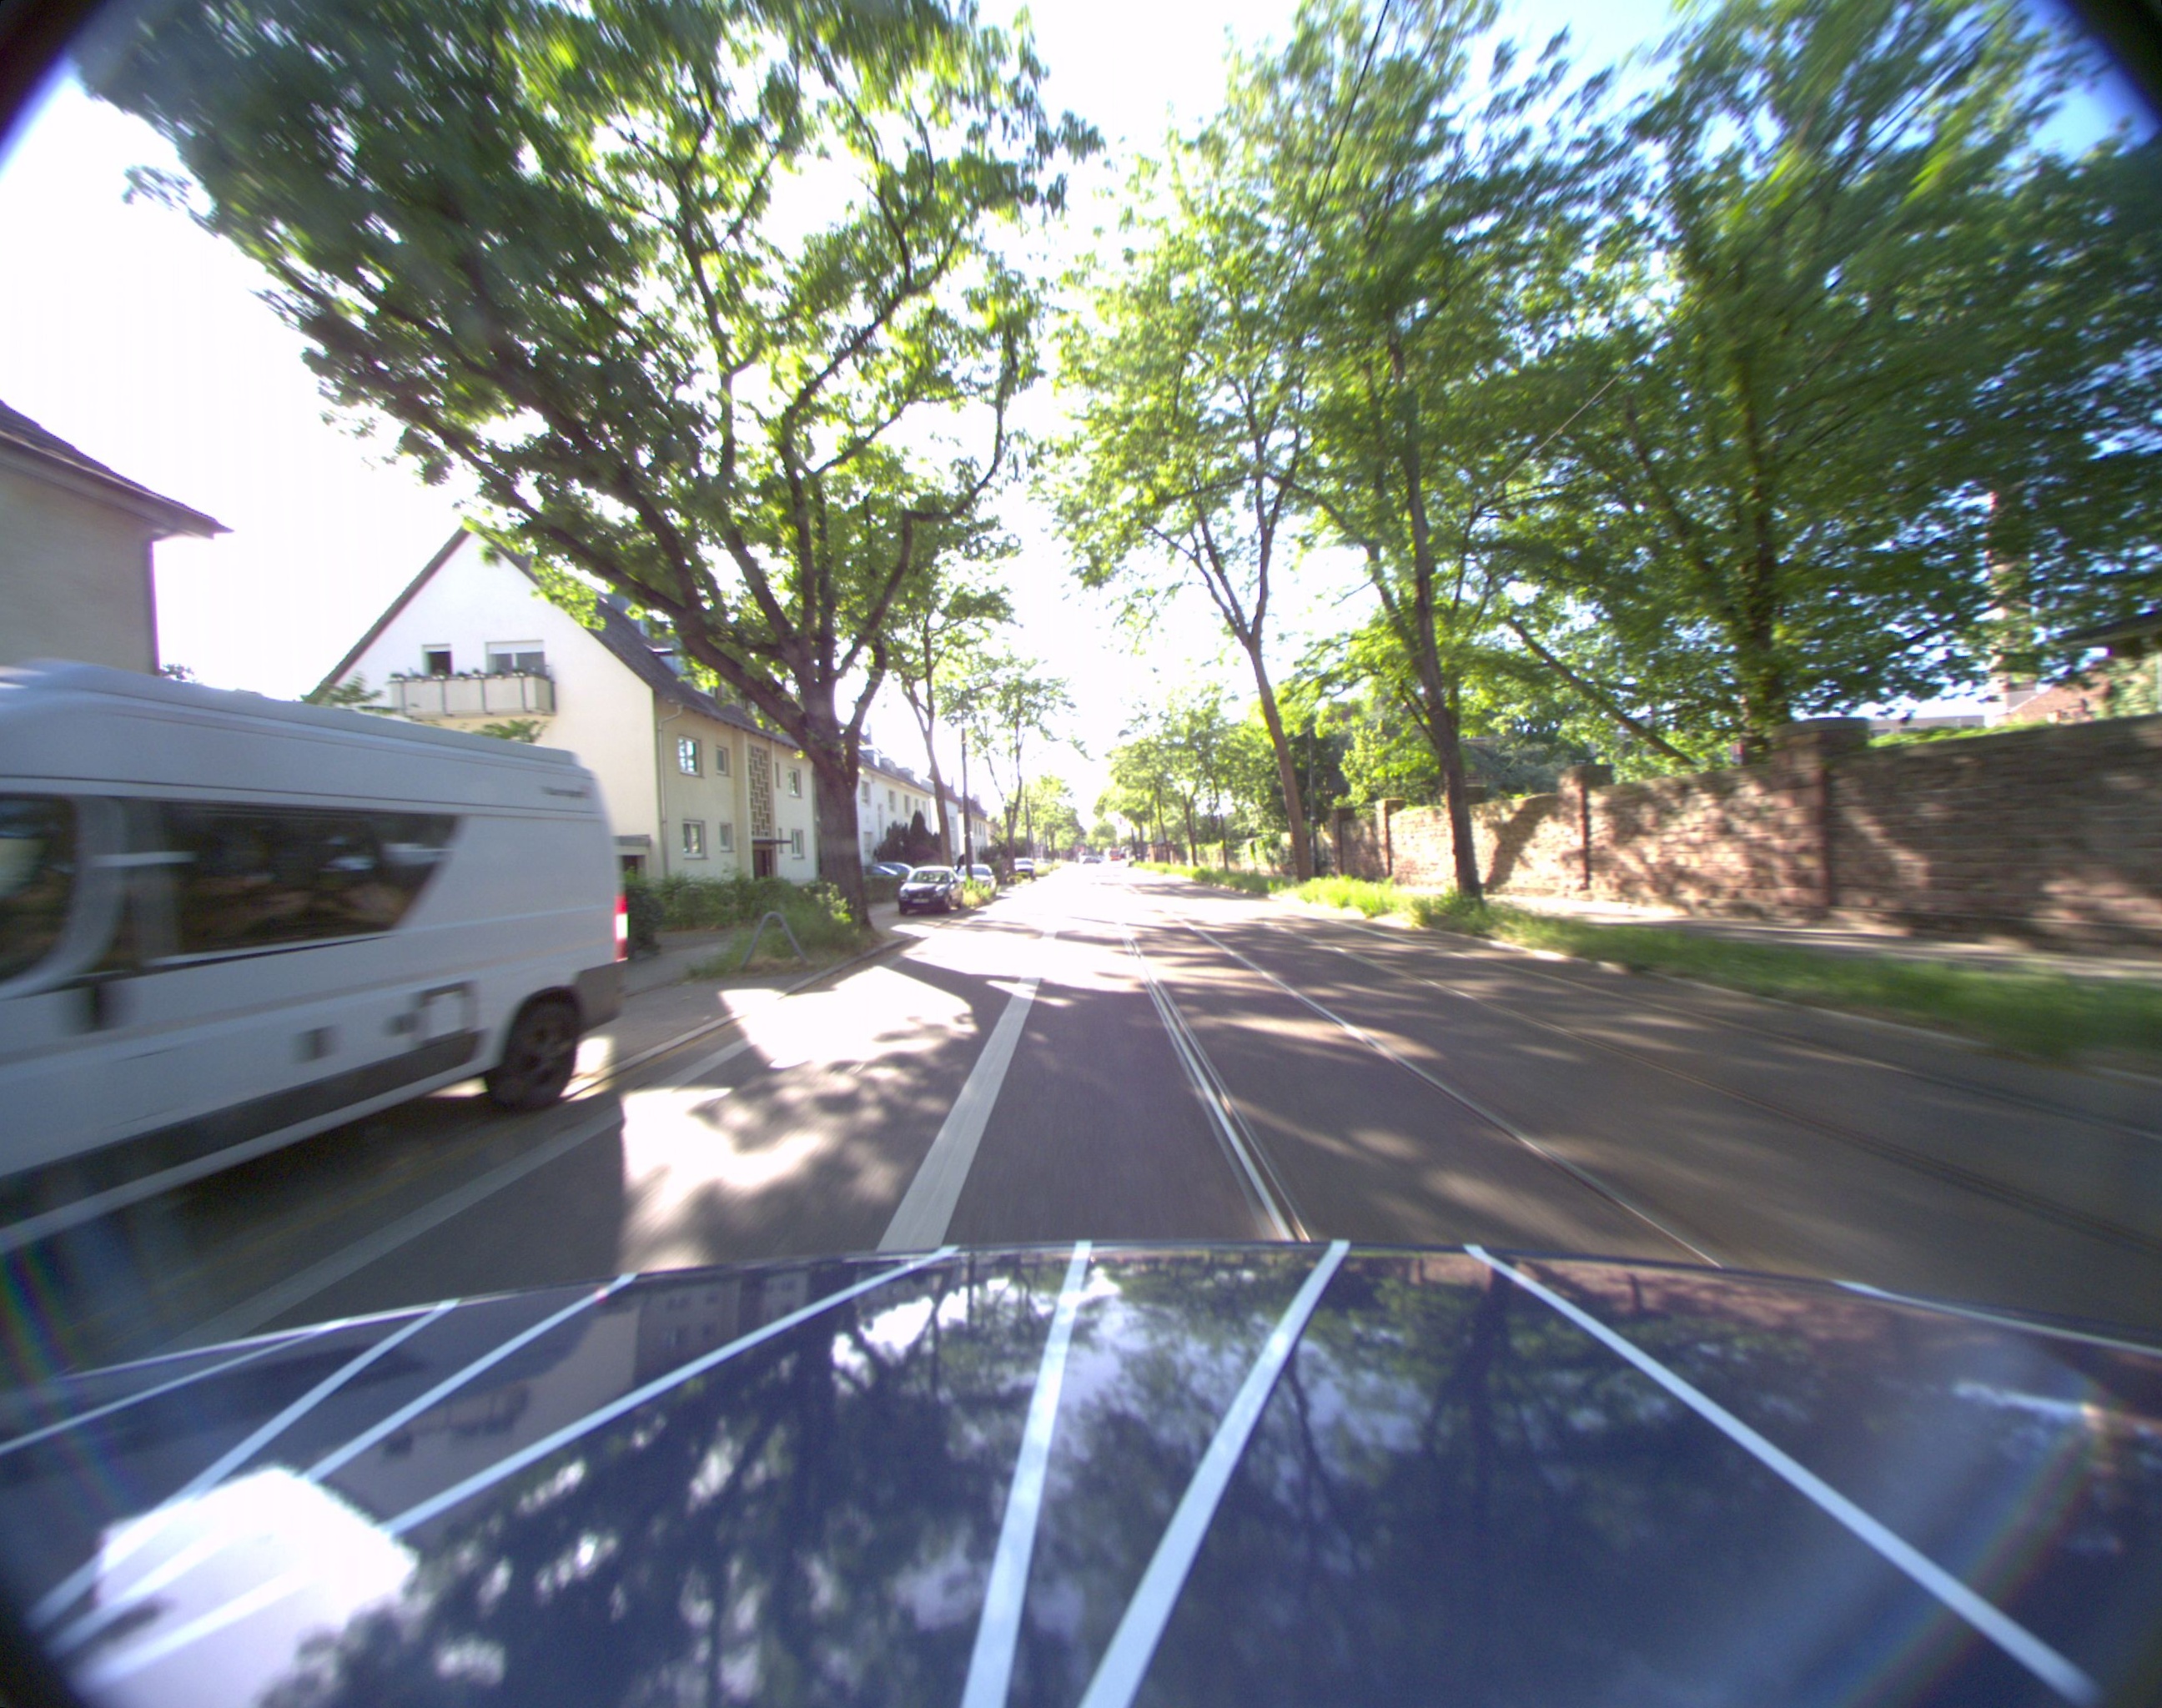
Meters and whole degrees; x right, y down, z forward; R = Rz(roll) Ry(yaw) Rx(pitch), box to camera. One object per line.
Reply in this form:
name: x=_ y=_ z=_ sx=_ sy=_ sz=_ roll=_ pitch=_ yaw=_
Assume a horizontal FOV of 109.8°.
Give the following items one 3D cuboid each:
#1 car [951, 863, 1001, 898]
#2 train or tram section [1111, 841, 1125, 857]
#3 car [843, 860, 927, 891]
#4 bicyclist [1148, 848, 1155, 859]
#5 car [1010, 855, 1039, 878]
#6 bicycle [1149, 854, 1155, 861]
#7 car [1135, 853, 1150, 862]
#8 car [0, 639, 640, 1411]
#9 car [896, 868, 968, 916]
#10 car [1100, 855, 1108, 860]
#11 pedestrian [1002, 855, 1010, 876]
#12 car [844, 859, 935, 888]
car: x=-4.730 y=1.155 z=34.768 sx=1.788 sy=1.440 sz=4.300 roll=0 pitch=0 yaw=-1
train or tram section: x=8.719 y=-1.173 z=181.066 sx=2.811 sy=3.439 sz=6.668 roll=-3 pitch=0 yaw=1
car: x=-9.638 y=1.038 z=37.572 sx=3.749 sy=1.481 sz=1.739 roll=0 pitch=0 yaw=-5
bicyclist: x=10.140 y=-0.041 z=109.339 sx=0.711 sy=1.490 sz=0.956 roll=-4 pitch=1 yaw=1
car: x=-4.459 y=0.958 z=60.792 sx=1.999 sy=1.694 sz=4.477 roll=0 pitch=0 yaw=0
bicycle: x=10.183 y=0.481 z=109.312 sx=0.720 sy=0.968 sz=1.888 roll=-4 pitch=1 yaw=1
car: x=11.932 y=0.651 z=146.967 sx=1.750 sy=1.515 sz=4.075 roll=-3 pitch=0 yaw=21
car: x=-4.825 y=0.593 z=3.504 sx=2.251 sy=2.638 sz=5.585 roll=-1 pitch=0 yaw=0
car: x=-4.809 y=1.191 z=24.957 sx=1.631 sy=1.389 sz=3.645 roll=0 pitch=0 yaw=0
car: x=6.985 y=0.946 z=227.449 sx=1.743 sy=1.450 sz=3.691 roll=-3 pitch=0 yaw=-8
pedestrian: x=-6.699 y=1.026 z=68.263 sx=0.627 sy=1.859 sz=0.732 roll=0 pitch=1 yaw=-1
car: x=-10.350 y=1.045 z=41.262 sx=4.431 sy=1.481 sz=1.859 roll=0 pitch=0 yaw=3
